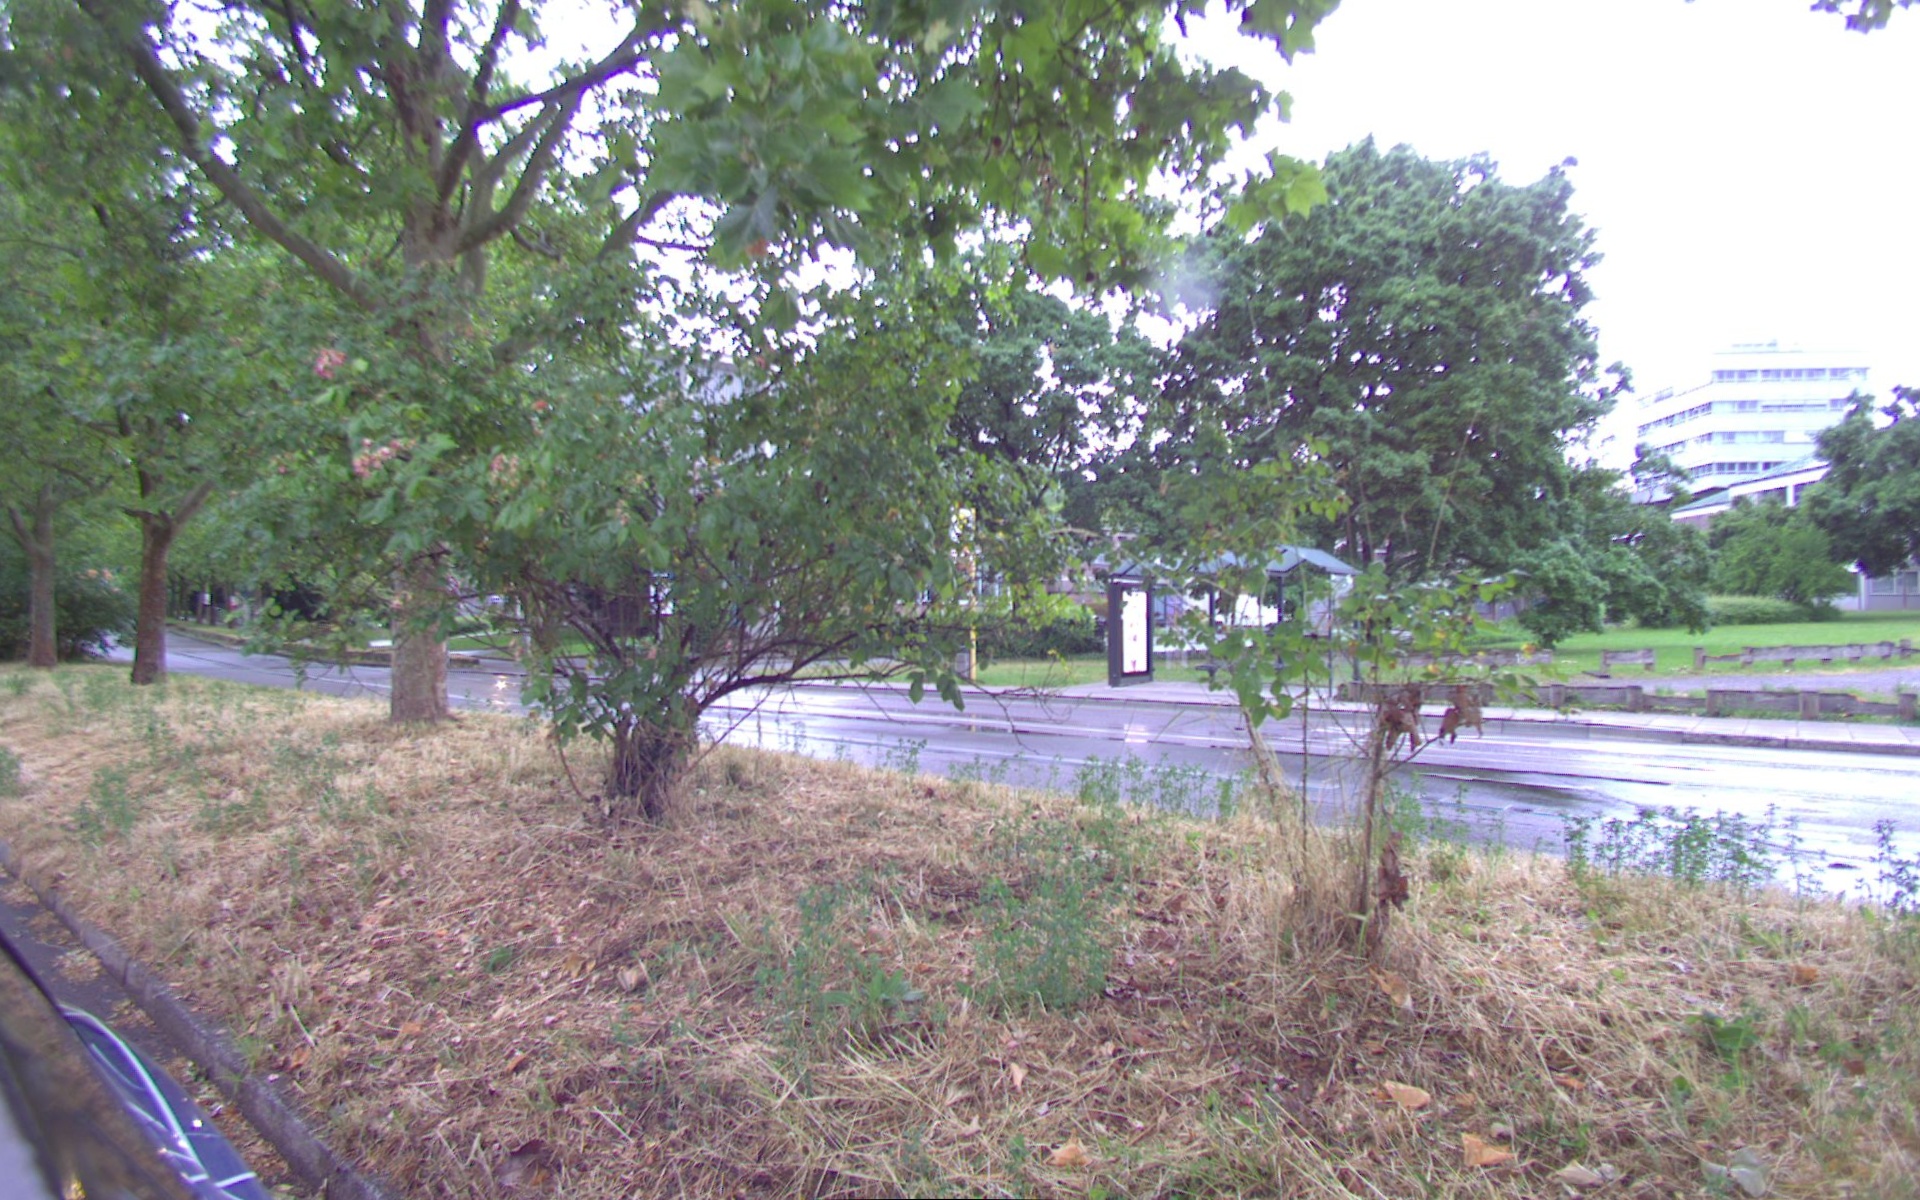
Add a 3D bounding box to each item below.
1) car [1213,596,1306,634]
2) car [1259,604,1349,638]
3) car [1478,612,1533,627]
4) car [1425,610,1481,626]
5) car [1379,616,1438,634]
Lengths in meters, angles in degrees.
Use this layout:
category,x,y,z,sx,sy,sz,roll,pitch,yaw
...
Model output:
category,x,y,z,sx,sy,sz,roll,pitch,yaw
car,18.558,0.875,62.986,2.080,2.229,5.483,-1,1,-33
car,22.134,1.290,65.293,2.251,2.037,5.091,-1,1,-36
car,43.953,1.550,81.601,1.566,1.151,3.564,-1,1,-37
car,37.719,1.371,77.477,1.566,1.151,3.564,-1,1,-37
car,32.245,1.793,72.760,1.566,1.151,3.564,-1,1,-37
